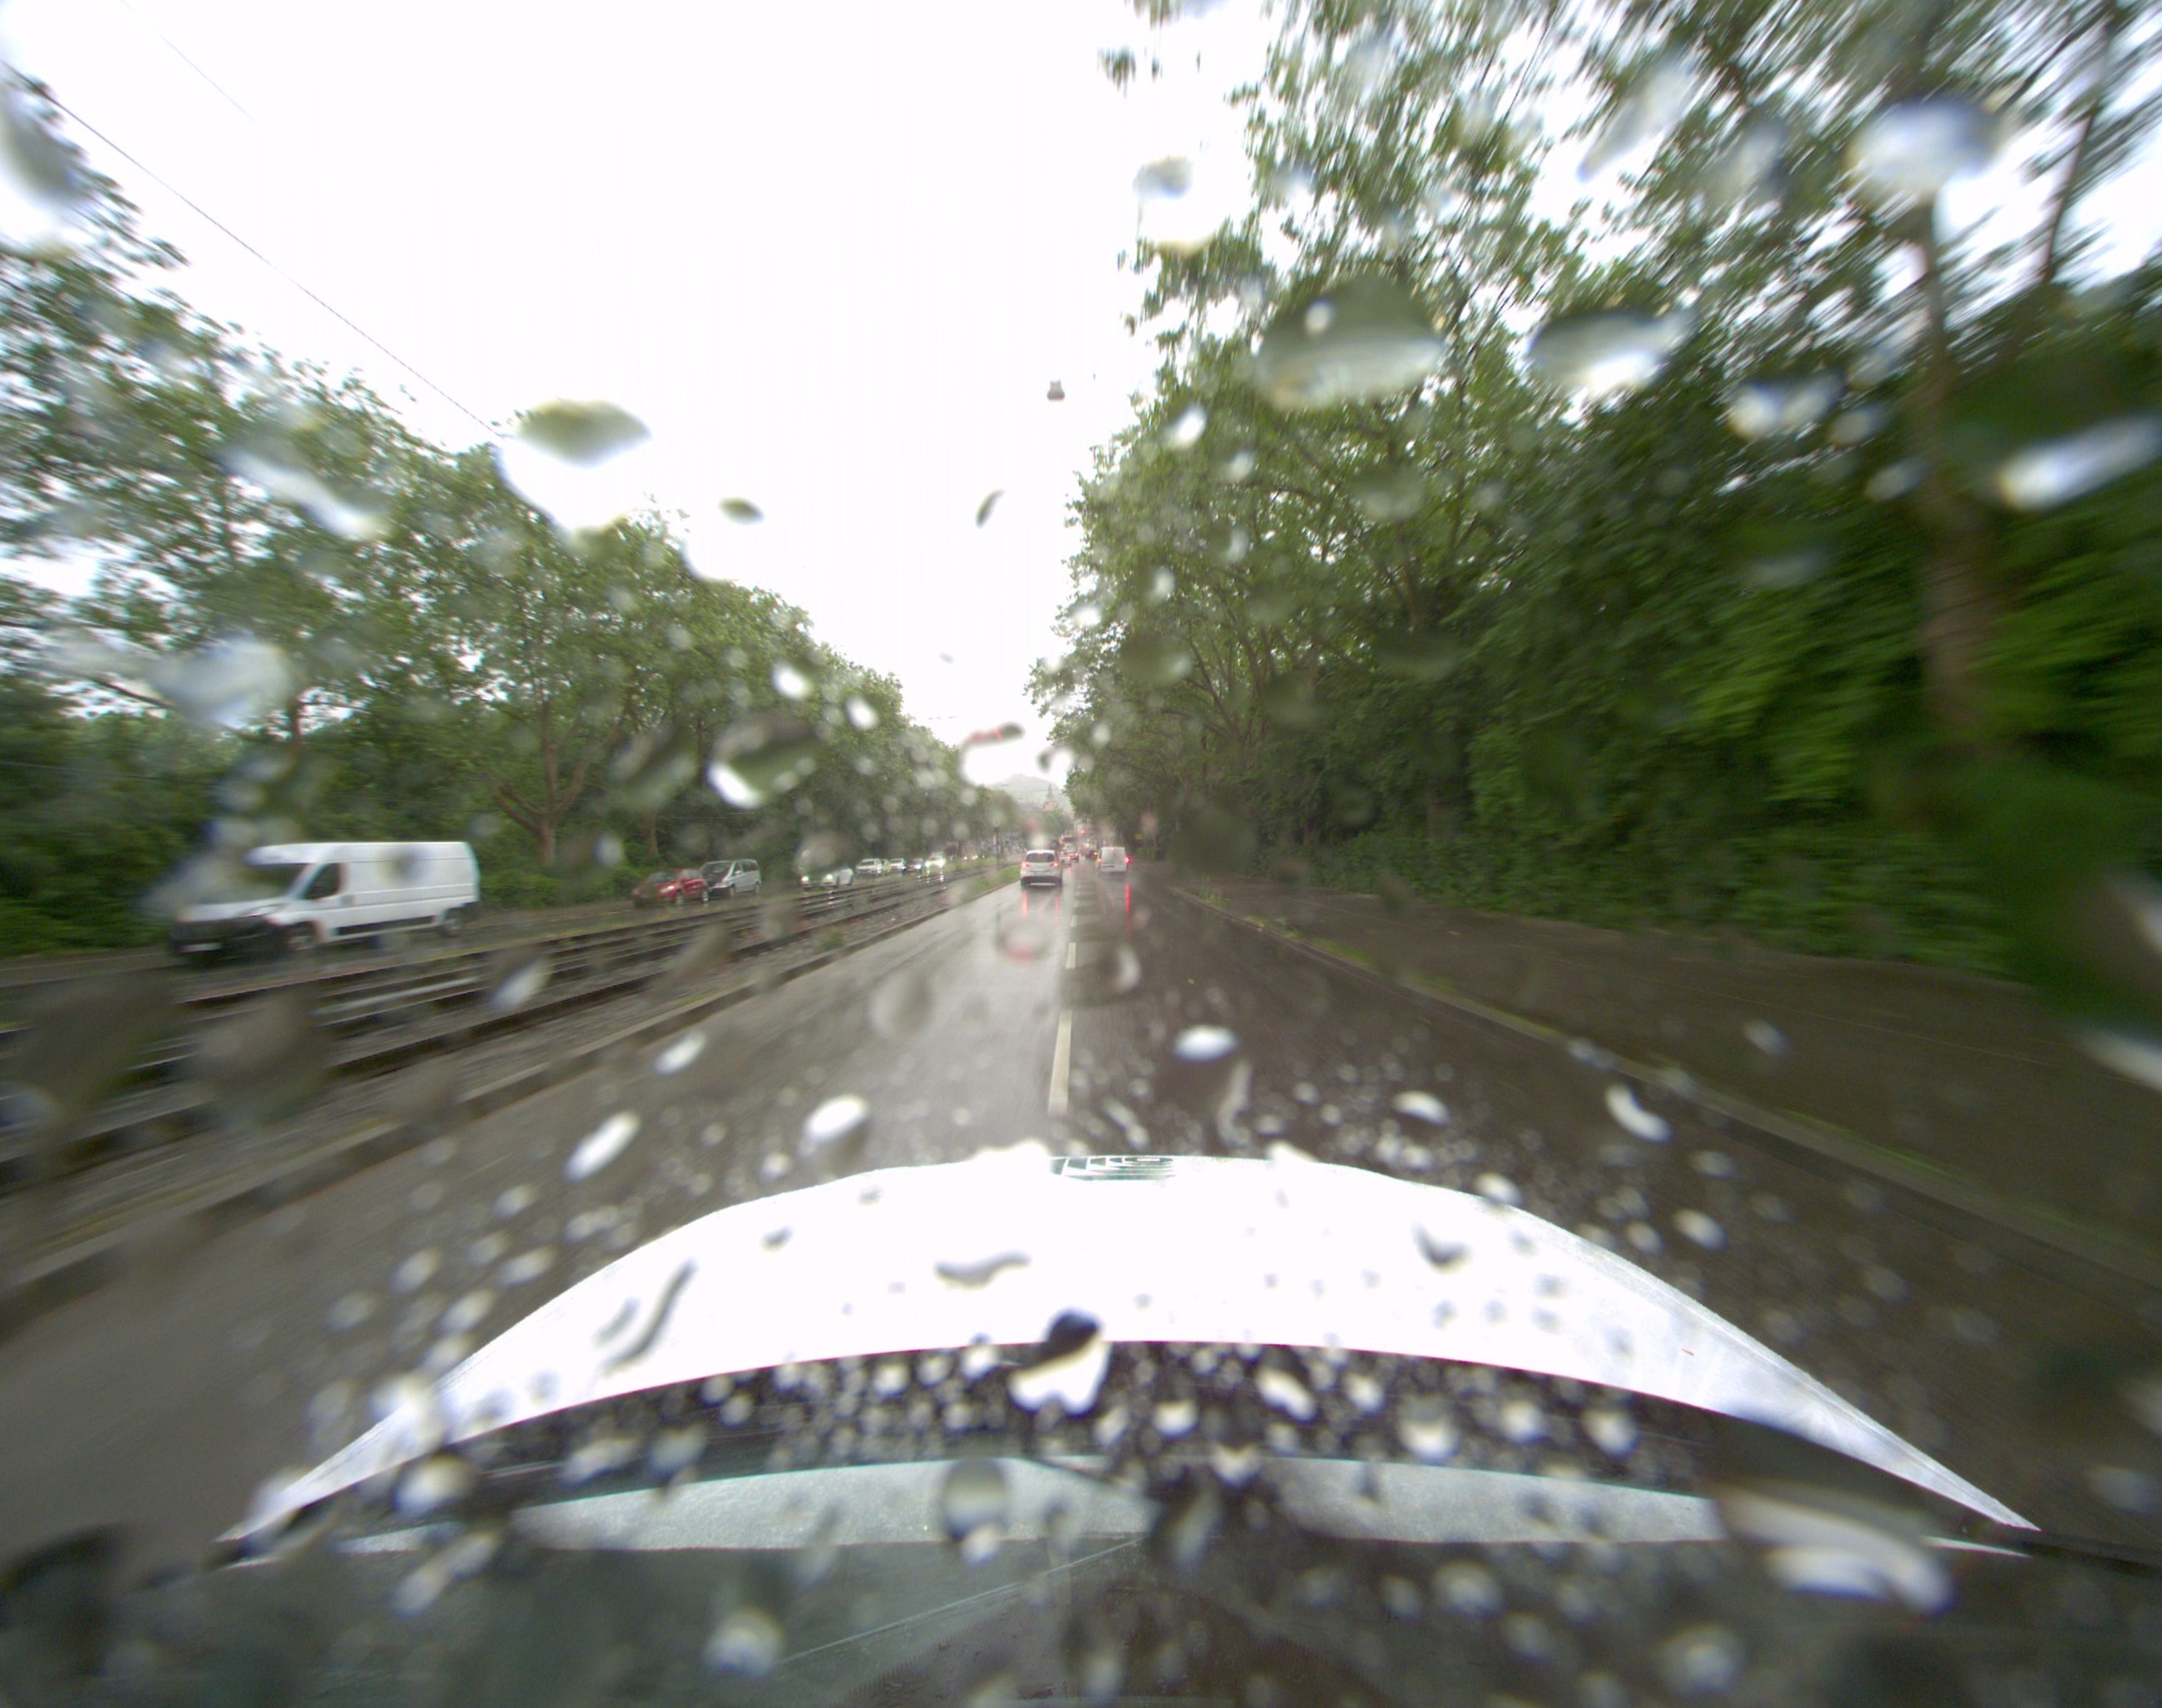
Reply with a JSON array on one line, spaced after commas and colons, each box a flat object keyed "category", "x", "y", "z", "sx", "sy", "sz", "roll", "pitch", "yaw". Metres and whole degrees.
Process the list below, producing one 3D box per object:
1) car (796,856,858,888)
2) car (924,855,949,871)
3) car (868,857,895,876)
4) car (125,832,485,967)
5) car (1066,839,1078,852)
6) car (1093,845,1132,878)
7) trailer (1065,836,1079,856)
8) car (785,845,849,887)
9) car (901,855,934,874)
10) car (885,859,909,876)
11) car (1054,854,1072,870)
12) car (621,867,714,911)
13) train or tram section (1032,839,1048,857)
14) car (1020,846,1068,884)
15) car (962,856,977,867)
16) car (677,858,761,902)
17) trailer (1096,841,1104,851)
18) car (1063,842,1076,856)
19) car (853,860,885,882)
[{"category": "car", "x": -13.977, "y": 0.925, "z": 45.095, "sx": 2.028, "sy": 1.552, "sz": 4.992, "roll": -3, "pitch": 0, "yaw": -3}, {"category": "car", "x": -15.741, "y": 0.942, "z": 89.035, "sx": 1.973, "sy": 1.566, "sz": 4.764, "roll": -3, "pitch": 0, "yaw": -2}, {"category": "car", "x": -18.875, "y": 1.137, "z": 77.269, "sx": 1.757, "sy": 1.648, "sz": 3.809, "roll": -3, "pitch": 0, "yaw": -3}, {"category": "car", "x": -16.985, "y": 0.864, "z": 18.547, "sx": 2.323, "sy": 2.446, "sz": 6.135, "roll": -3, "pitch": 0, "yaw": -2}, {"category": "car", "x": -1.601, "y": -1.440, "z": 142.692, "sx": 1.987, "sy": 2.262, "sz": 5.287, "roll": -1, "pitch": 0, "yaw": -1}, {"category": "car", "x": 1.731, "y": 0.414, "z": 45.811, "sx": 1.953, "sy": 1.777, "sz": 3.568, "roll": -1, "pitch": 0, "yaw": -1}, {"category": "trailer", "x": -1.919, "y": -1.595, "z": 165.722, "sx": 2.583, "sy": 3.899, "sz": 7.631, "roll": -1, "pitch": 1, "yaw": -2}, {"category": "car", "x": -17.947, "y": 0.771, "z": 55.810, "sx": 2.384, "sy": 2.540, "sz": 6.559, "roll": -3, "pitch": 0, "yaw": -3}, {"category": "car", "x": -14.262, "y": 0.897, "z": 71.236, "sx": 2.027, "sy": 1.552, "sz": 4.564, "roll": -3, "pitch": 0, "yaw": -1}, {"category": "car", "x": -19.806, "y": 1.421, "z": 87.837, "sx": 1.757, "sy": 1.648, "sz": 3.809, "roll": -3, "pitch": 0, "yaw": -3}, {"category": "car", "x": -1.743, "y": 0.810, "z": 81.418, "sx": 1.720, "sy": 1.479, "sz": 3.804, "roll": -1, "pitch": 0, "yaw": -1}, {"category": "car", "x": -17.203, "y": 1.423, "z": 34.084, "sx": 1.813, "sy": 1.552, "sz": 4.022, "roll": -3, "pitch": 0, "yaw": -1}, {"category": "train or tram section", "x": -8.239, "y": -1.302, "z": 164.202, "sx": 2.953, "sy": 3.285, "sz": 8.355, "roll": -3, "pitch": 1, "yaw": -2}, {"category": "car", "x": -1.631, "y": 0.489, "z": 37.412, "sx": 1.858, "sy": 1.623, "sz": 4.264, "roll": -1, "pitch": 0, "yaw": 2}, {"category": "car", "x": -17.967, "y": 1.198, "z": 131.462, "sx": 2.027, "sy": 1.751, "sz": 4.255, "roll": -3, "pitch": 0, "yaw": -3}, {"category": "car", "x": -17.423, "y": 1.203, "z": 39.442, "sx": 1.951, "sy": 1.862, "sz": 4.638, "roll": -3, "pitch": 0, "yaw": -1}, {"category": "trailer", "x": 4.669, "y": -1.955, "z": 201.655, "sx": 1.987, "sy": 2.317, "sz": 4.666, "roll": -1, "pitch": 0, "yaw": -1}, {"category": "car", "x": -2.220, "y": -0.880, "z": 153.927, "sx": 2.322, "sy": 2.557, "sz": 6.112, "roll": -1, "pitch": 0, "yaw": -1}, {"category": "car", "x": -18.387, "y": 1.415, "z": 70.797, "sx": 1.746, "sy": 1.728, "sz": 4.527, "roll": -3, "pitch": 0, "yaw": -3}]
